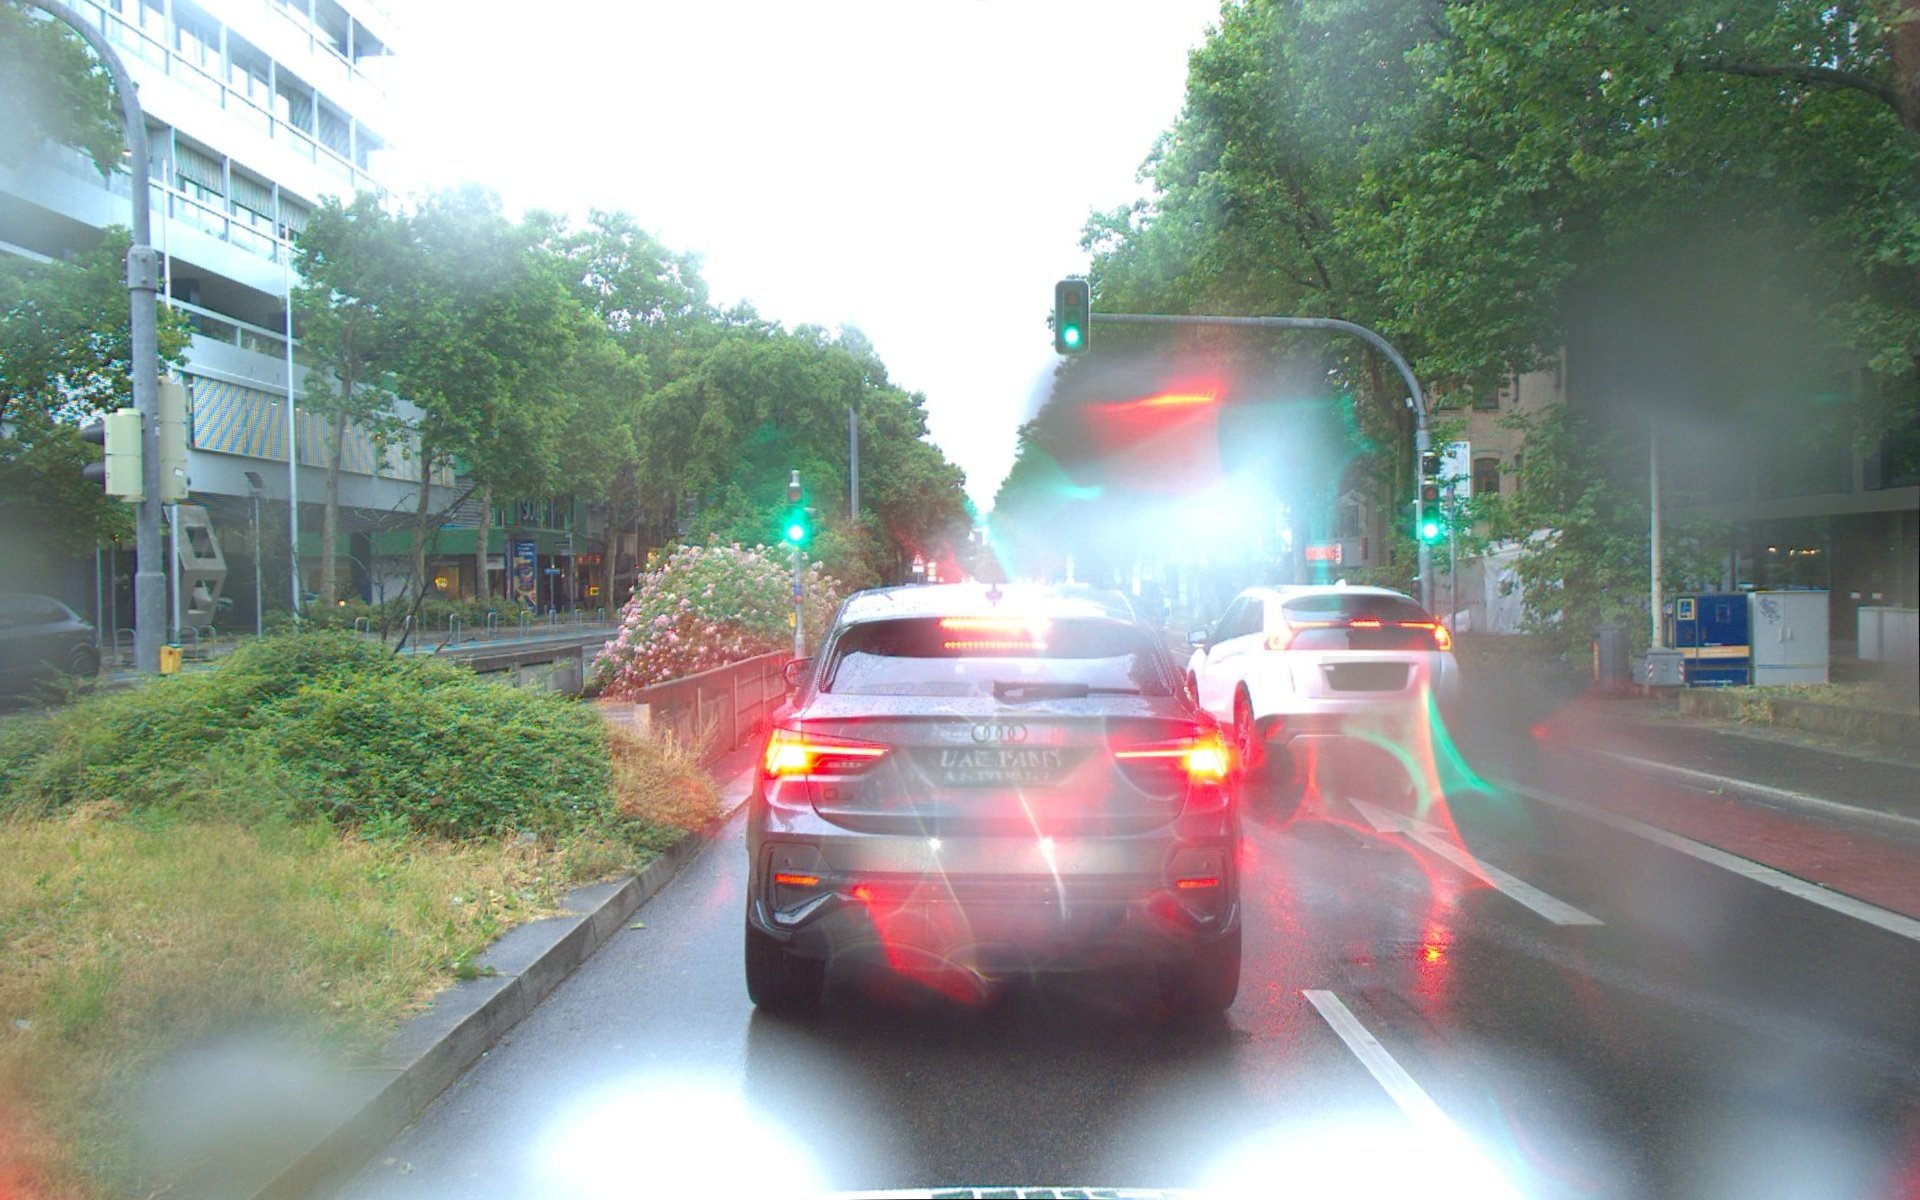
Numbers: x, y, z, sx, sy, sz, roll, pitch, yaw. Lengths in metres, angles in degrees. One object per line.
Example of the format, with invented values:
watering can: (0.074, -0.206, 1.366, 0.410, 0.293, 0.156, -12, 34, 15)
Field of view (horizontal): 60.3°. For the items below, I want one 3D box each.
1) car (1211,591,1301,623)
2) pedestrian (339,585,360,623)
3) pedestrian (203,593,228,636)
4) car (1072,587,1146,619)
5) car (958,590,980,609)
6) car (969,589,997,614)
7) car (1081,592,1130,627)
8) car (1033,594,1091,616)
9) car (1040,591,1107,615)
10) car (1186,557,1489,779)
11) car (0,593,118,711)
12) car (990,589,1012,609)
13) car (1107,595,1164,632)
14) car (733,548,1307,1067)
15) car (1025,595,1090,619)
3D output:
car: (10.512, 0.255, 58.732, 2.831, 1.093, 1.452, 1, -1, 31)
pedestrian: (-24.451, 0.175, 66.228, 0.597, 1.508, 0.574, 1, -1, -3)
pedestrian: (-24.391, 0.476, 54.205, 0.626, 1.404, 0.473, 1, -1, -12)
car: (9.811, 0.199, 109.188, 4.519, 2.049, 1.959, 1, -1, 39)
car: (0.765, -0.046, 148.591, 1.857, 1.627, 3.938, 1, 0, -1)
car: (1.652, 0.120, 119.639, 1.953, 1.757, 3.999, 1, -1, -1)
car: (6.933, 0.445, 79.379, 1.693, 1.599, 4.070, 1, 0, -4)
car: (8.688, 0.435, 140.711, 4.549, 1.736, 1.997, 1, -1, 28)
car: (8.449, 0.241, 123.508, 4.549, 1.736, 1.997, 1, -1, 28)
car: (3.260, 0.554, 15.081, 1.839, 1.727, 4.000, 1, -1, 0)
car: (-14.040, 0.696, 23.091, 1.869, 1.612, 4.748, 1, 0, 4)
car: (3.716, -0.084, 151.151, 1.952, 1.680, 4.000, 1, 0, 0)
car: (7.235, 0.558, 68.612, 1.835, 1.446, 4.611, 1, 0, 0)
car: (0.163, 0.654, 7.221, 1.812, 1.630, 3.999, 0, 0, -1)
car: (7.529, 0.530, 127.740, 4.549, 1.736, 1.997, 1, -1, 28)
